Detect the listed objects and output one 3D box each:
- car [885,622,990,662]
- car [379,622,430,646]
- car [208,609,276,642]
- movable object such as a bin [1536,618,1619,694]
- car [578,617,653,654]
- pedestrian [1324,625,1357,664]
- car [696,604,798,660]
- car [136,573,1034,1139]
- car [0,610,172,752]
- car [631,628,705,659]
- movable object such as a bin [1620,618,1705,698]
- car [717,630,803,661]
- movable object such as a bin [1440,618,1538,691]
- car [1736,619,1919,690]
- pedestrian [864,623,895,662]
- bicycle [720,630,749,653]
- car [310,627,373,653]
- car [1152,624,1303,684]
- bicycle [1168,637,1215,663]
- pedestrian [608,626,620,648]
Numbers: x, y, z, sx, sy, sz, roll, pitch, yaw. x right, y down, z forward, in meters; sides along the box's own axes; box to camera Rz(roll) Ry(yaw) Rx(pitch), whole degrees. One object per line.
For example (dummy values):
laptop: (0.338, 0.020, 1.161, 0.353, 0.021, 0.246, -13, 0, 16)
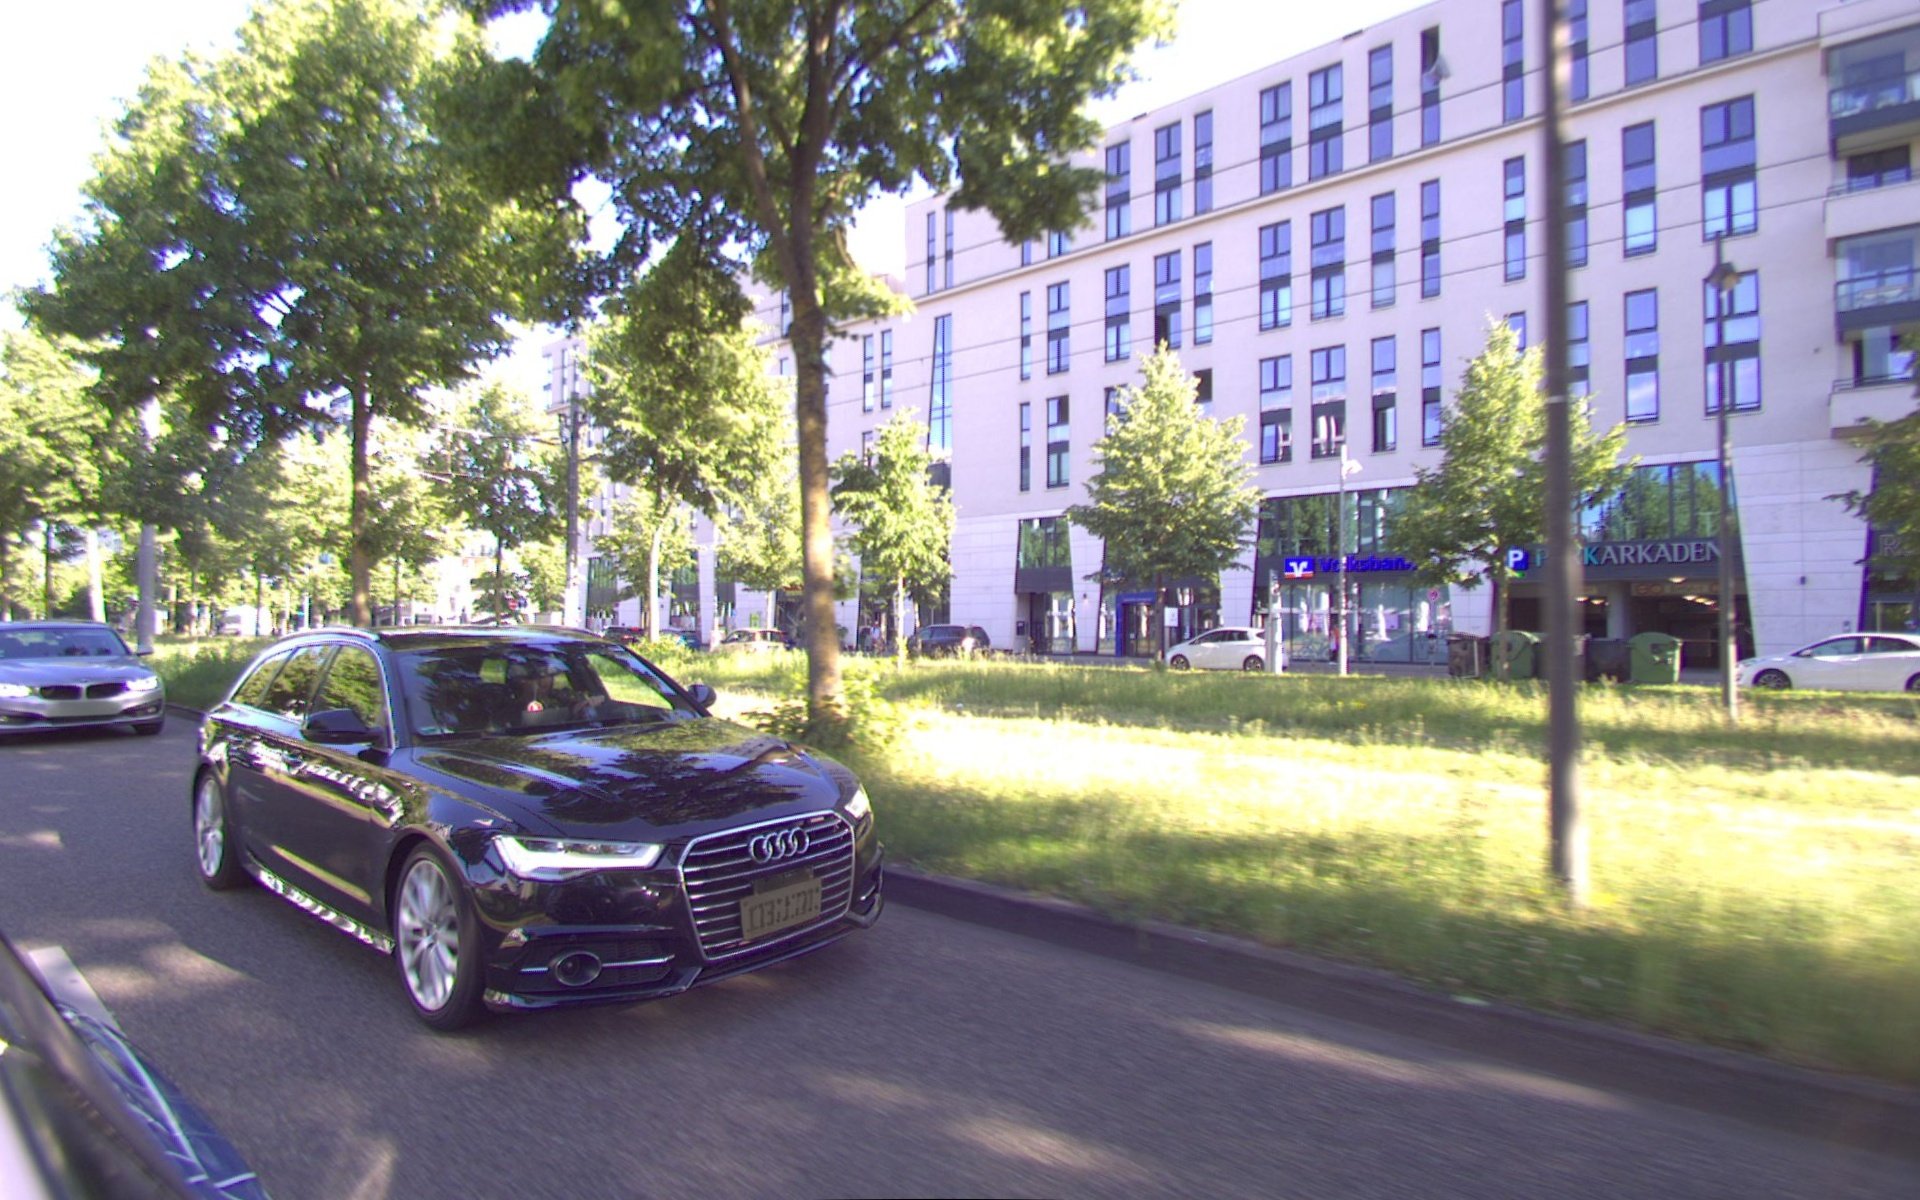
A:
car: (-0.957, 1.660, 40.631, 4.268, 1.491, 1.542, -1, -1, 41)
car: (-44.351, 2.698, 80.776, 4.416, 1.822, 2.079, -1, 0, 39)
car: (-55.212, 1.958, 77.785, 6.016, 2.399, 2.483, -1, 0, 36)
movable object such as a bin: (15.902, 1.391, 26.031, 1.554, 1.808, 1.951, -1, 0, 39)
car: (-19.707, 2.017, 57.813, 4.549, 2.029, 1.974, -1, -2, 39)
pedestrian: (14.849, 1.721, 39.476, 1.024, 1.479, 0.939, -1, 0, 32)
car: (-8.267, 1.201, 39.167, 4.001, 2.029, 1.971, -1, 0, 44)
car: (-2.267, 0.774, 5.066, 5.080, 1.492, 1.933, -3, -3, 40)
car: (-12.117, 0.946, 13.453, 4.276, 1.590, 1.862, -1, 0, 42)
car: (-15.703, 2.321, 54.389, 3.997, 1.584, 1.973, -1, -2, 40)
movable object such as a bin: (17.272, 1.372, 24.862, 1.554, 1.808, 1.951, -1, 0, 39)
car: (-9.747, 2.196, 49.220, 4.331, 1.424, 1.706, -1, -2, 38)
movable object such as a bin: (14.281, 1.413, 27.299, 2.008, 1.808, 1.951, -1, 0, 39)
car: (19.997, 1.178, 22.747, 4.015, 1.452, 1.974, -1, 0, 39)
pedestrian: (-3.760, 1.956, 47.130, 1.222, 1.756, 0.834, -1, 0, 42)
bicycle: (-13.813, 2.538, 61.970, 0.653, 1.335, 2.338, -1, 0, -42)
car: (-38.451, 2.448, 62.888, 4.451, 1.452, 1.974, -1, 0, 39)
car: (8.704, 1.695, 33.087, 4.334, 1.742, 1.974, -1, 0, 39)
bicycle: (9.508, 2.025, 41.538, 0.610, 0.996, 1.850, -1, 0, -43)
pedestrian: (-23.863, 2.545, 69.787, 0.459, 1.470, 0.595, -1, 0, 44)
